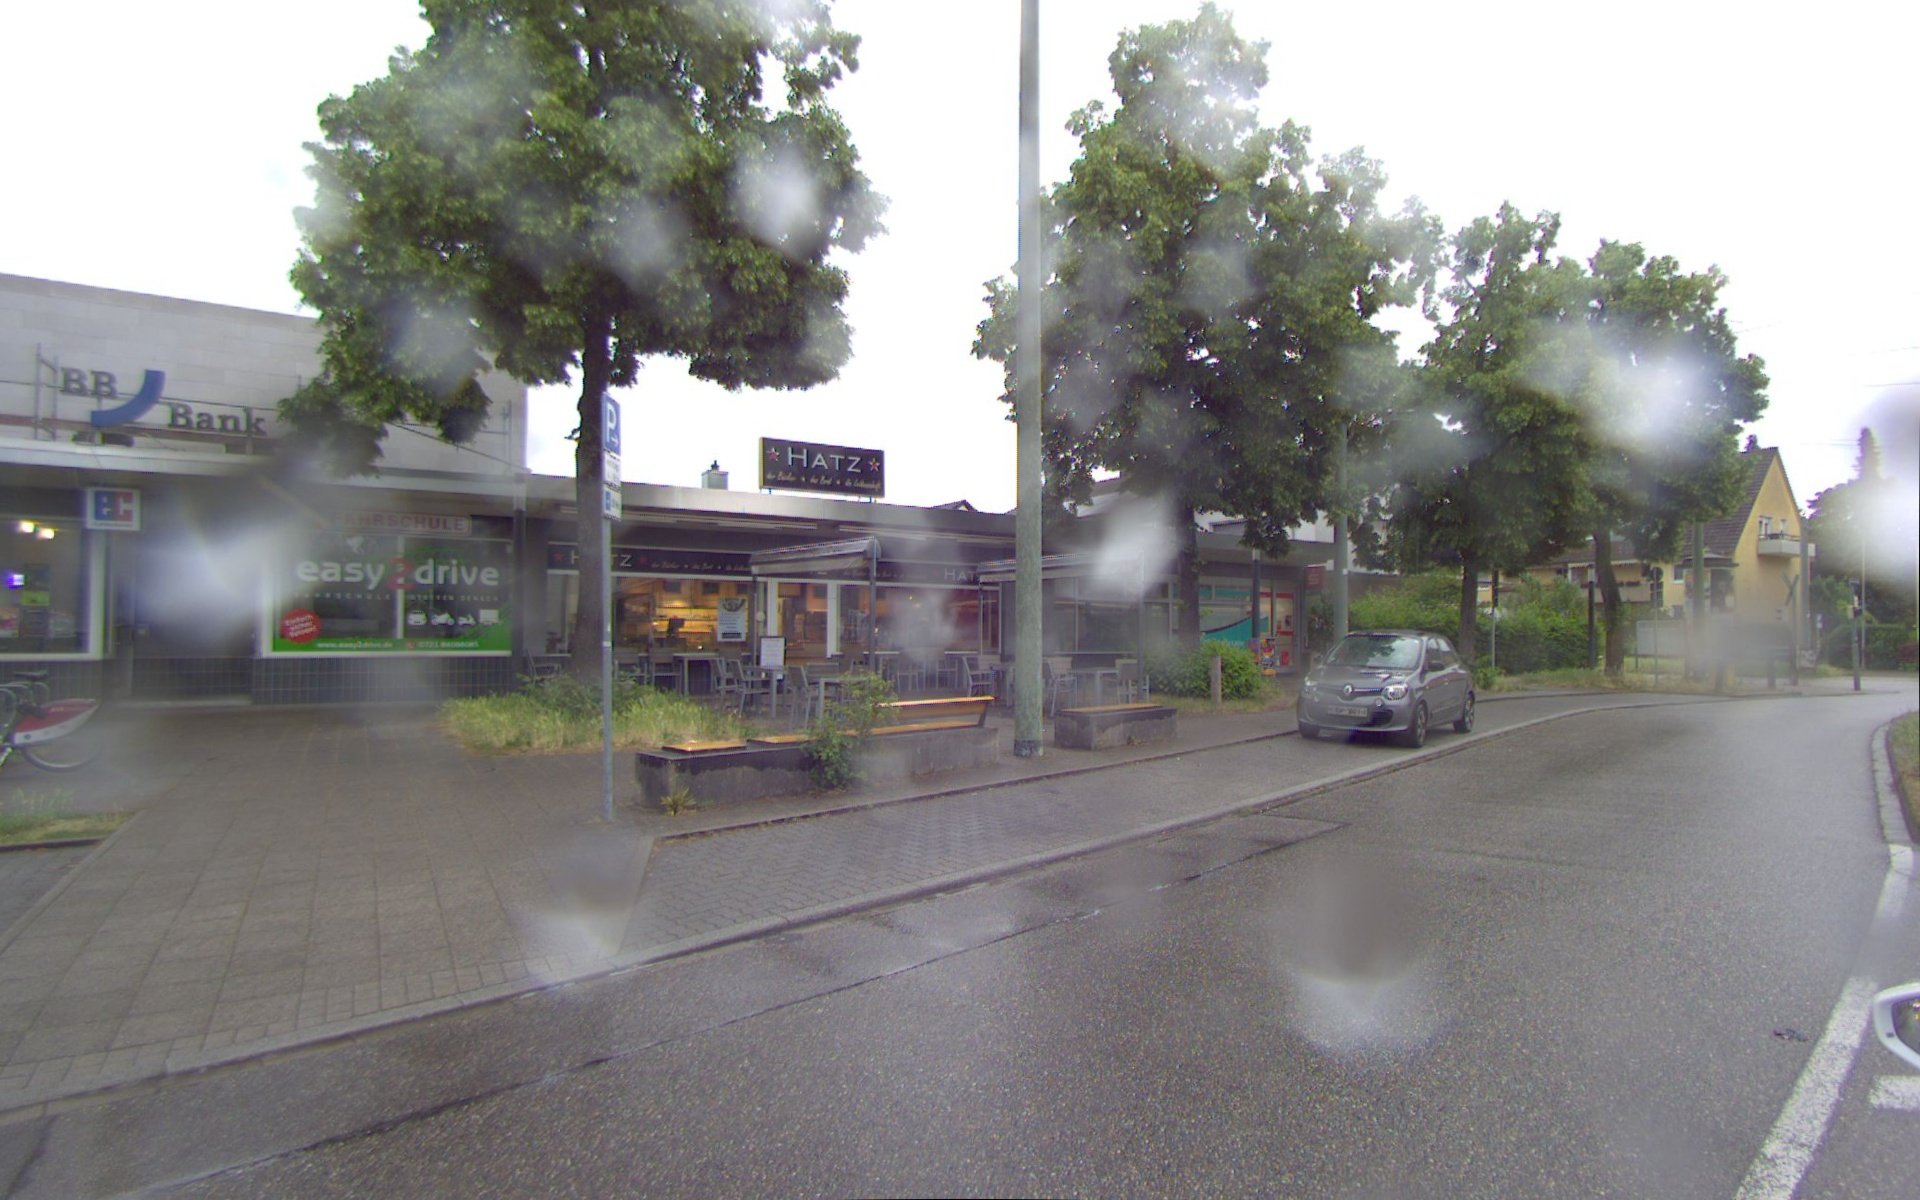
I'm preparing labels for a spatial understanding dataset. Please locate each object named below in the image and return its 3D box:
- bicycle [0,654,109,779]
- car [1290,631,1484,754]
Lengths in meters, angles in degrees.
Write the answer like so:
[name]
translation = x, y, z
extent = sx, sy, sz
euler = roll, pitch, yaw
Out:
[bicycle]
translation = -9.003, 1.082, 9.249
extent = 0.314, 1.122, 1.739
euler = 2, 0, 43
[car]
translation = 6.381, 1.251, 14.826
extent = 1.598, 1.516, 3.649
euler = 2, 0, 40
